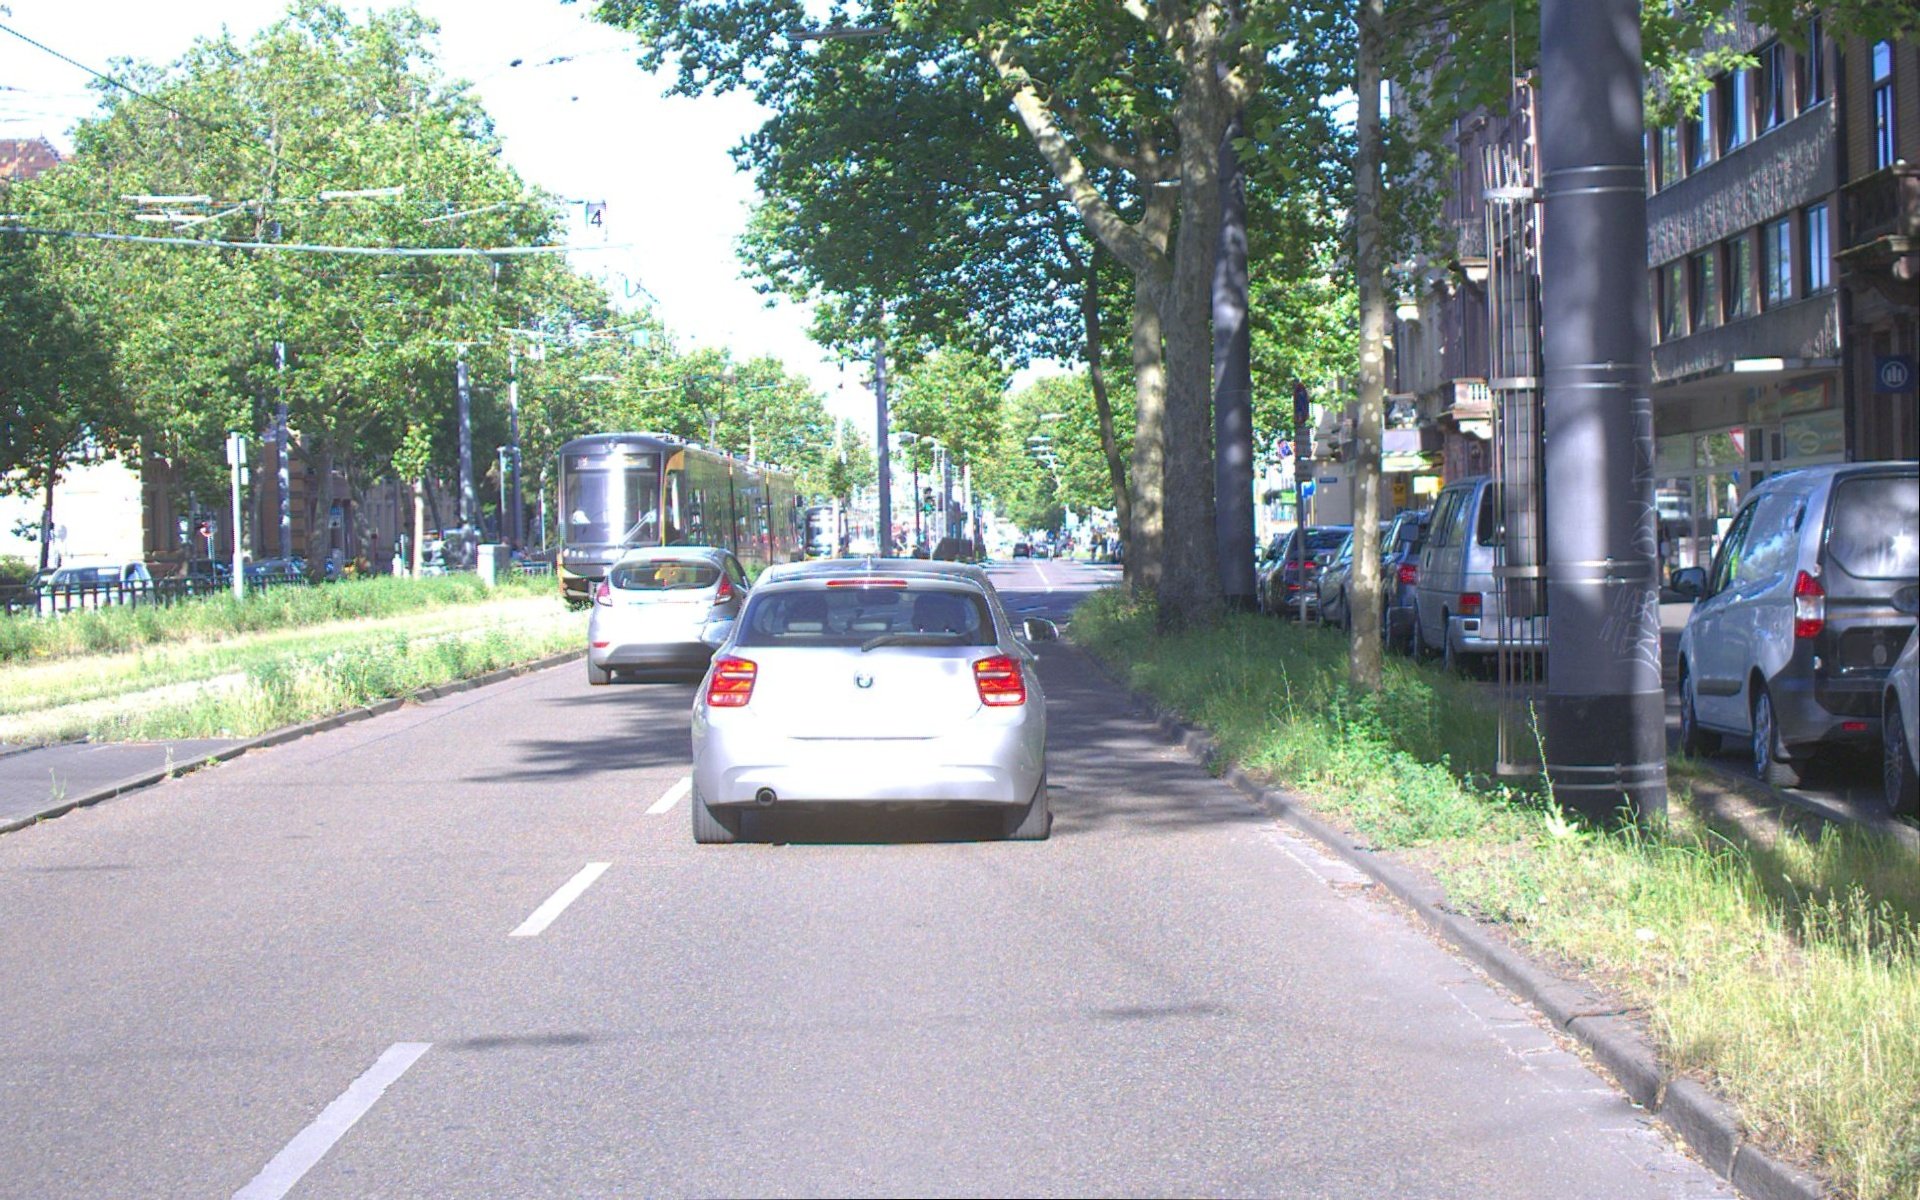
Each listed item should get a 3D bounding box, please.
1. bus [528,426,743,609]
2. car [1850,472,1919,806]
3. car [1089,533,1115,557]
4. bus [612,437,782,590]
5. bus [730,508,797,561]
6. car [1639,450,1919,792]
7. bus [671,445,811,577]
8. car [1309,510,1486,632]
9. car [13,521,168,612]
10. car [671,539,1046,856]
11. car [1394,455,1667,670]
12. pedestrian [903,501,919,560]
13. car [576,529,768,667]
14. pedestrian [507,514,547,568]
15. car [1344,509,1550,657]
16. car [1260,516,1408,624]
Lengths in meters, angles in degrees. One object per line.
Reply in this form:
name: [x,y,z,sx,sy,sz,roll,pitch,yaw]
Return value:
bus: [-6.569,-1.727,71.730,2.869,3.432,13.217,-1,1,1]
car: [4.990,0.188,14.993,1.512,1.475,3.491,1,2,4]
car: [9.676,-3.751,234.447,1.700,1.529,3.717,1,2,1]
bus: [-6.303,-2.126,84.379,2.869,3.432,12.215,-1,1,1]
bus: [-14.199,-4.848,250.417,2.869,3.616,24.604,-1,2,1]
car: [4.853,0.046,18.854,1.625,1.662,4.141,1,2,3]
bus: [-6.020,-2.502,96.344,2.869,3.432,11.611,-1,1,1]
car: [5.565,-0.398,44.202,1.677,1.461,4.670,1,1,0]
car: [-15.551,-0.622,61.679,1.844,1.524,3.875,1,2,-1]
car: [-0.469,0.428,18.310,1.762,1.427,4.000,1,2,0]
car: [5.179,-0.395,31.811,1.865,1.809,4.800,1,2,2]
pedestrian: [-1.598,-2.282,112.636,0.450,1.896,0.585,-1,1,-6]
car: [-3.065,-0.062,37.192,1.647,1.358,3.760,1,2,2]
pedestrian: [-13.288,-1.819,105.555,1.176,1.638,0.893,-1,1,-6]
car: [5.250,-0.231,37.546,1.704,1.497,4.358,1,1,1]
car: [5.450,-0.470,50.599,1.806,1.484,4.919,1,1,2]
